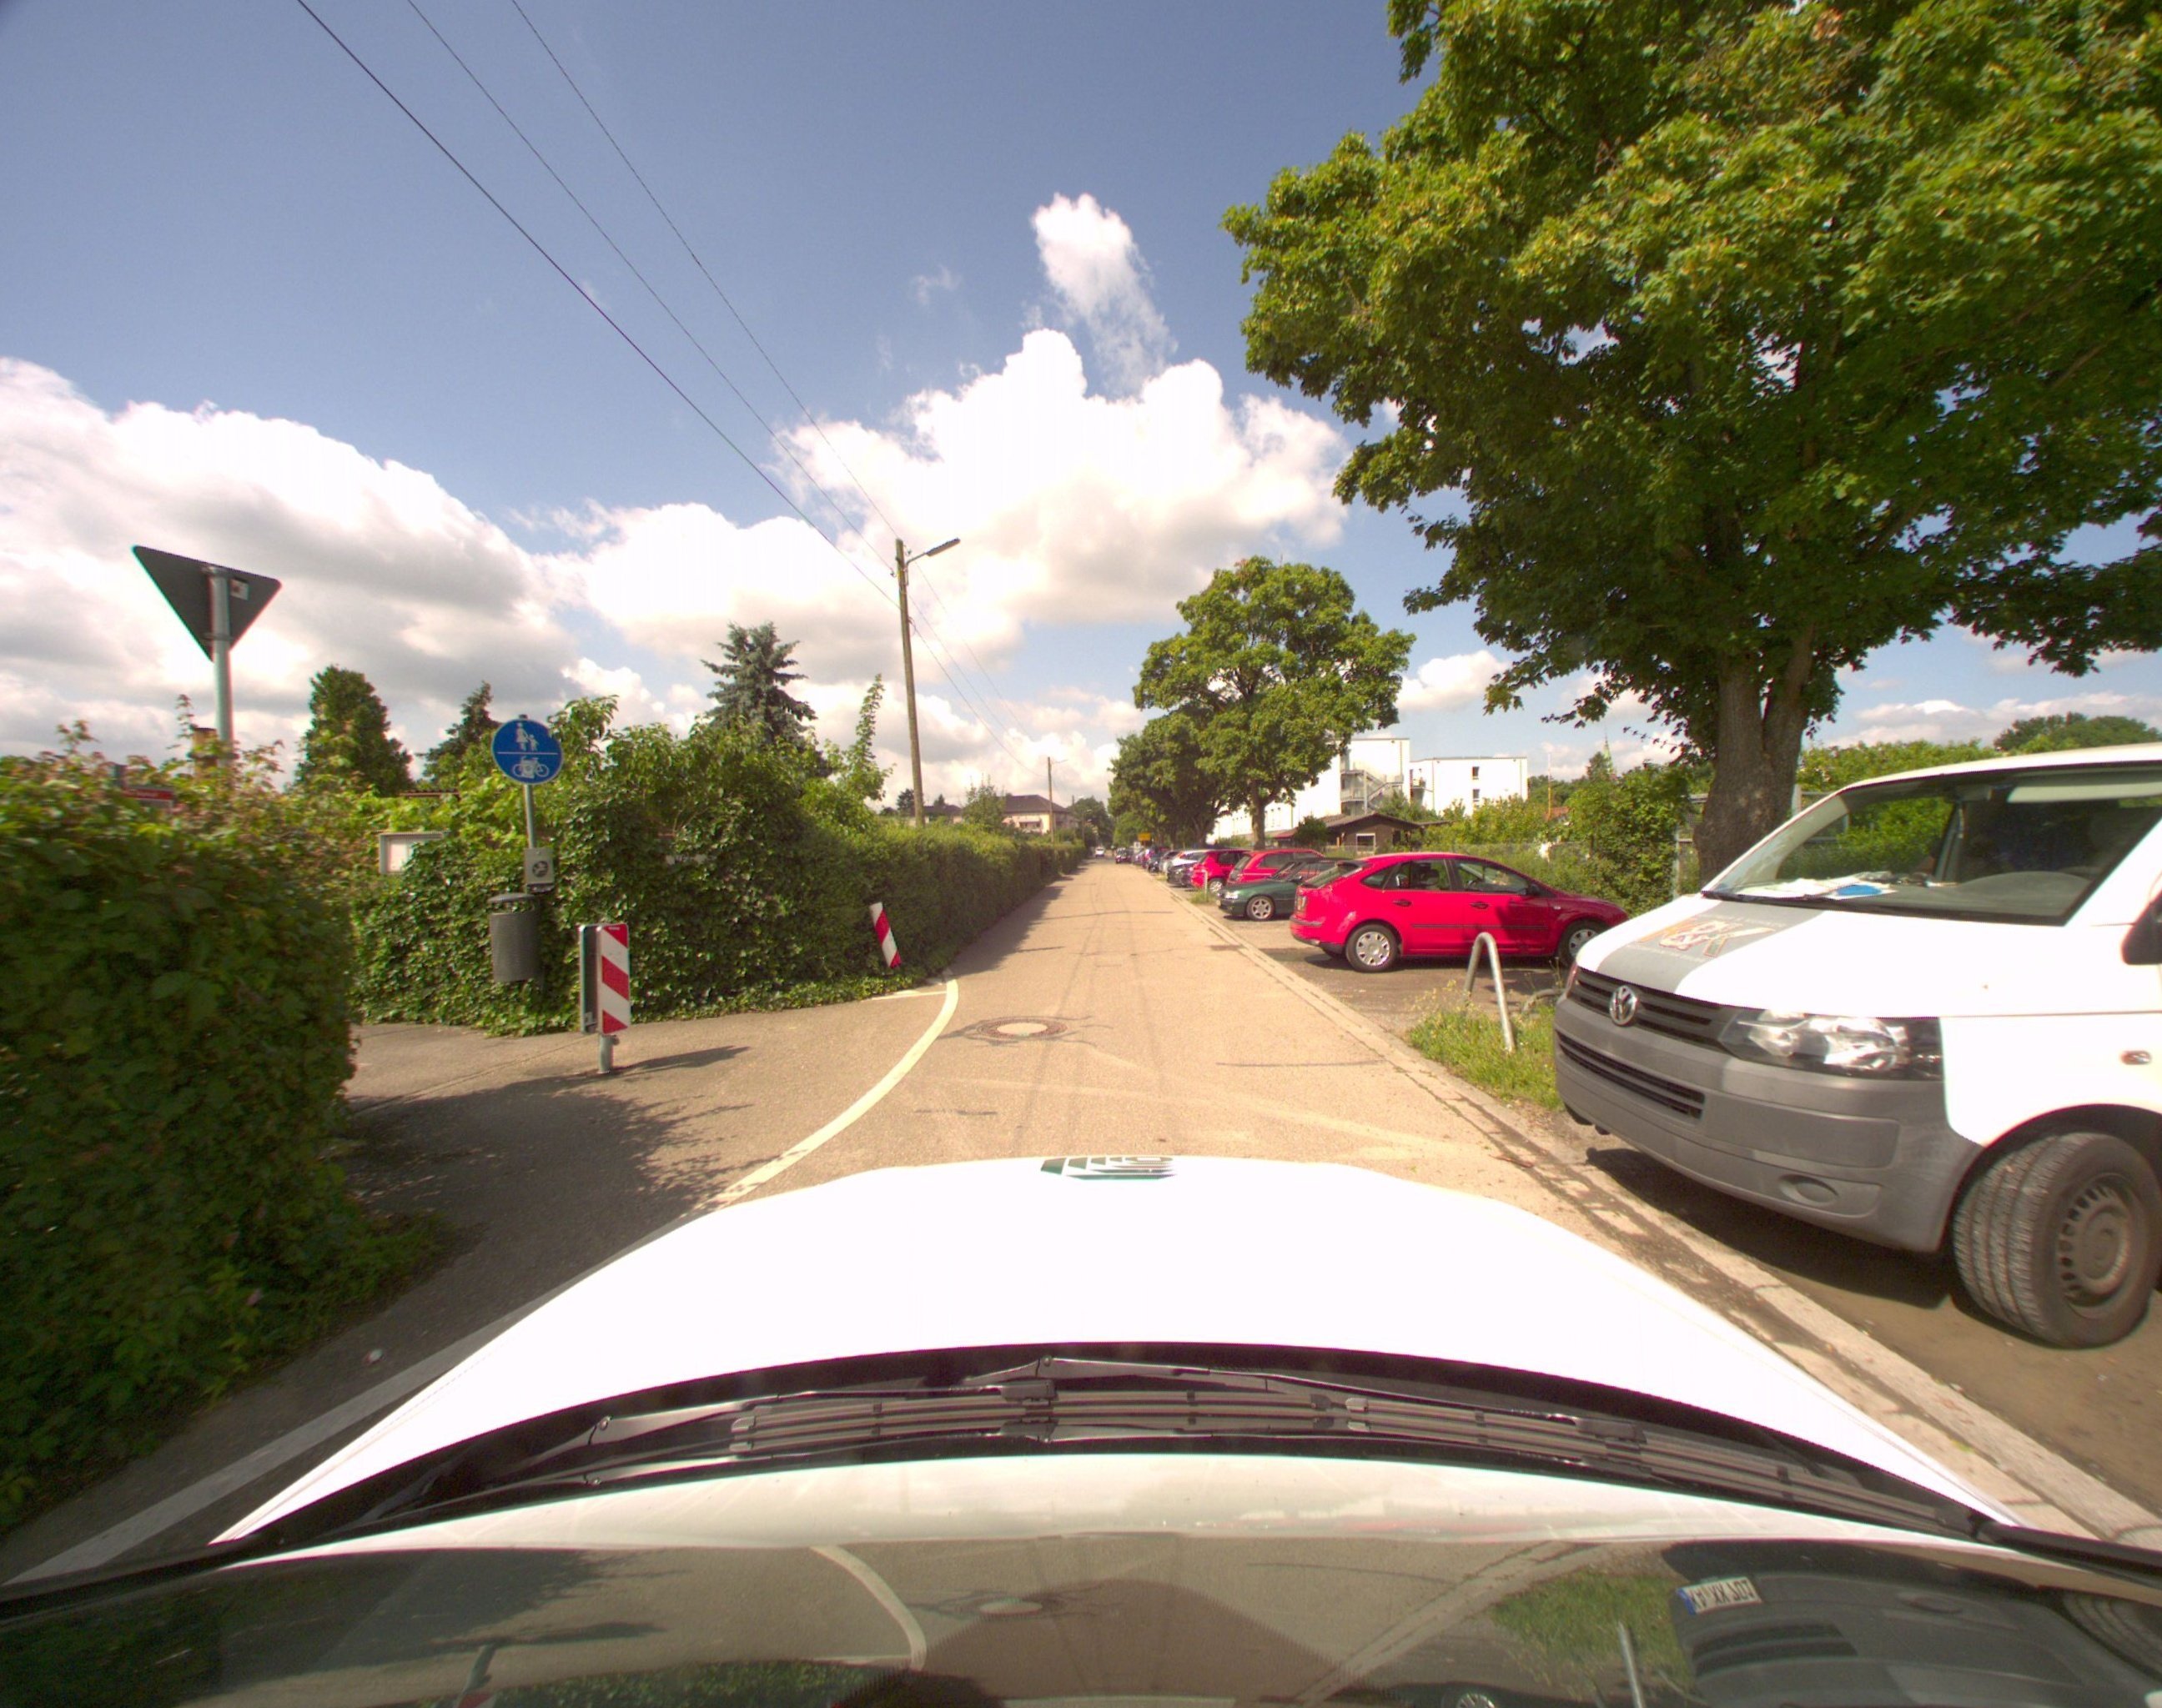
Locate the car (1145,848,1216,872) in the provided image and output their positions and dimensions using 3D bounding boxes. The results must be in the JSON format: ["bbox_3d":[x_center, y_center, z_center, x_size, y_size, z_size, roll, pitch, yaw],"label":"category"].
[{"bbox_3d":[6.215,0.379,51.277,4.320,1.492,1.976,0,0,1],"label":"car"}]

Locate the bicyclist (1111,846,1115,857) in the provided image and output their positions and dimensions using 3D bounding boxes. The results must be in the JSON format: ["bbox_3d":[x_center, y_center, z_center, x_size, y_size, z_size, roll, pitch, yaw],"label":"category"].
[{"bbox_3d":[5.751,-0.430,145.894,0.656,1.852,1.044,-2,0,4],"label":"bicyclist"}]

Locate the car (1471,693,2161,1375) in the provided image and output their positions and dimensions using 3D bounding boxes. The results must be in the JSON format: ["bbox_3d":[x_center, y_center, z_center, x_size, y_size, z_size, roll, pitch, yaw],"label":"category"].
[{"bbox_3d":[4.438,0.430,3.364,4.619,1.886,2.111,-2,0,0],"label":"car"}]

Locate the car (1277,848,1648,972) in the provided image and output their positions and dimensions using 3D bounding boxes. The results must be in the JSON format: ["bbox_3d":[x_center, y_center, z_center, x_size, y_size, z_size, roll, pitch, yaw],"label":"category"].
[{"bbox_3d":[4.922,0.682,11.008,4.166,1.504,1.879,0,0,2],"label":"car"}]

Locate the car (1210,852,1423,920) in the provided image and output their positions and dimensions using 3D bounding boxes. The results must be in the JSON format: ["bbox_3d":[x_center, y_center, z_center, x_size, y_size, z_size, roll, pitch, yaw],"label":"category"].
[{"bbox_3d":[5.153,0.677,18.230,4.228,1.428,1.907,0,0,-2],"label":"car"}]

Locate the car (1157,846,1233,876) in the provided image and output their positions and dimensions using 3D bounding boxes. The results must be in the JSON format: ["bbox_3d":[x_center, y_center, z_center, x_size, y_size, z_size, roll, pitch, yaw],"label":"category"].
[{"bbox_3d":[5.991,0.366,43.124,3.713,1.540,1.849,0,0,-2],"label":"car"}]

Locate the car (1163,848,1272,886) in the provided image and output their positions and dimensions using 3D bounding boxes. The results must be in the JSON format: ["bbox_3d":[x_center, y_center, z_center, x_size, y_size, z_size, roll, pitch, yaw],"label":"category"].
[{"bbox_3d":[5.386,0.497,32.442,4.053,1.455,1.869,0,0,-1],"label":"car"}]

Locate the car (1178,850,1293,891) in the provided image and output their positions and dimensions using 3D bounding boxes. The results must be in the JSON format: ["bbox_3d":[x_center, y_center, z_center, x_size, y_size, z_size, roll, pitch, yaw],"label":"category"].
[{"bbox_3d":[5.484,0.564,29.270,3.892,1.423,1.960,0,0,4],"label":"car"}]

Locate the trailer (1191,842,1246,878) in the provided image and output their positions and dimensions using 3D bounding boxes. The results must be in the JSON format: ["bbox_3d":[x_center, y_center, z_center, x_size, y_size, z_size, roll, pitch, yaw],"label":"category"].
[{"bbox_3d":[6.767,0.288,40.217,2.443,1.720,1.517,0,1,-2],"label":"trailer"}]

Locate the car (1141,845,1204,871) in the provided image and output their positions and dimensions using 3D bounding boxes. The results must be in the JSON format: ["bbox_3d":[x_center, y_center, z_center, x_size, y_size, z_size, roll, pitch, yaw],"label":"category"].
[{"bbox_3d":[6.304,0.263,56.356,4.139,1.637,1.879,-2,0,1],"label":"car"}]

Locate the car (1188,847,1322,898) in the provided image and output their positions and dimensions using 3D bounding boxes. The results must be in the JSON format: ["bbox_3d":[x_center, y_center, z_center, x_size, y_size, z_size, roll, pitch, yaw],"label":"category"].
[{"bbox_3d":[5.419,0.556,25.755,3.968,1.519,1.857,0,0,5],"label":"car"}]

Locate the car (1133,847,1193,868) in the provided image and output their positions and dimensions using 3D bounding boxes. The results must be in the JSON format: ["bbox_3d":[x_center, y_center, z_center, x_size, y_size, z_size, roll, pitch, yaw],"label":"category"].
[{"bbox_3d":[6.289,0.300,62.888,4.533,1.578,1.809,0,0,0],"label":"car"}]

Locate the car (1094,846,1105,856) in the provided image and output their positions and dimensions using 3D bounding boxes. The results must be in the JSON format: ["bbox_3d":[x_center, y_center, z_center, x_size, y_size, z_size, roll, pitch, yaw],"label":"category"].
[{"bbox_3d":[3.506,-0.528,156.495,1.894,1.814,4.005,0,0,4],"label":"car"}]

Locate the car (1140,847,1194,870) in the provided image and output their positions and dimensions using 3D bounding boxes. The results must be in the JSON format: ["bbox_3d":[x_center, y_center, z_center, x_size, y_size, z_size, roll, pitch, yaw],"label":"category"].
[{"bbox_3d":[6.356,0.325,60.543,3.795,1.532,1.763,-2,0,1],"label":"car"}]

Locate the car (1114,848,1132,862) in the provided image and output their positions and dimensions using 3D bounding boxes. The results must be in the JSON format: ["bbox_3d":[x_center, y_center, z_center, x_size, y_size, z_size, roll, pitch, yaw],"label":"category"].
[{"bbox_3d":[4.512,0.130,87.831,1.654,1.506,4.008,0,0,7],"label":"car"}]

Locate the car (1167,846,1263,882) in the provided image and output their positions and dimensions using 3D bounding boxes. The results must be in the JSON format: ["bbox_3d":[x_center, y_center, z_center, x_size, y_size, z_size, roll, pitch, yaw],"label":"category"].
[{"bbox_3d":[5.865,0.423,36.040,4.046,1.511,1.960,0,0,4],"label":"car"}]

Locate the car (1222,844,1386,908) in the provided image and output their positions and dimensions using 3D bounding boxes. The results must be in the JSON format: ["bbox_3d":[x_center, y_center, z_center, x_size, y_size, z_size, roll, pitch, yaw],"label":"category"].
[{"bbox_3d":[5.631,0.539,20.946,3.750,1.573,1.870,0,0,1],"label":"car"}]

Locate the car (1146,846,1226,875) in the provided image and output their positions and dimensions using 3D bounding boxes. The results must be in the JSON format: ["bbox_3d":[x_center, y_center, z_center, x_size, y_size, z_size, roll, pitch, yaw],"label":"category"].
[{"bbox_3d":[5.826,0.375,45.713,4.287,1.594,2.000,0,0,1],"label":"car"}]
